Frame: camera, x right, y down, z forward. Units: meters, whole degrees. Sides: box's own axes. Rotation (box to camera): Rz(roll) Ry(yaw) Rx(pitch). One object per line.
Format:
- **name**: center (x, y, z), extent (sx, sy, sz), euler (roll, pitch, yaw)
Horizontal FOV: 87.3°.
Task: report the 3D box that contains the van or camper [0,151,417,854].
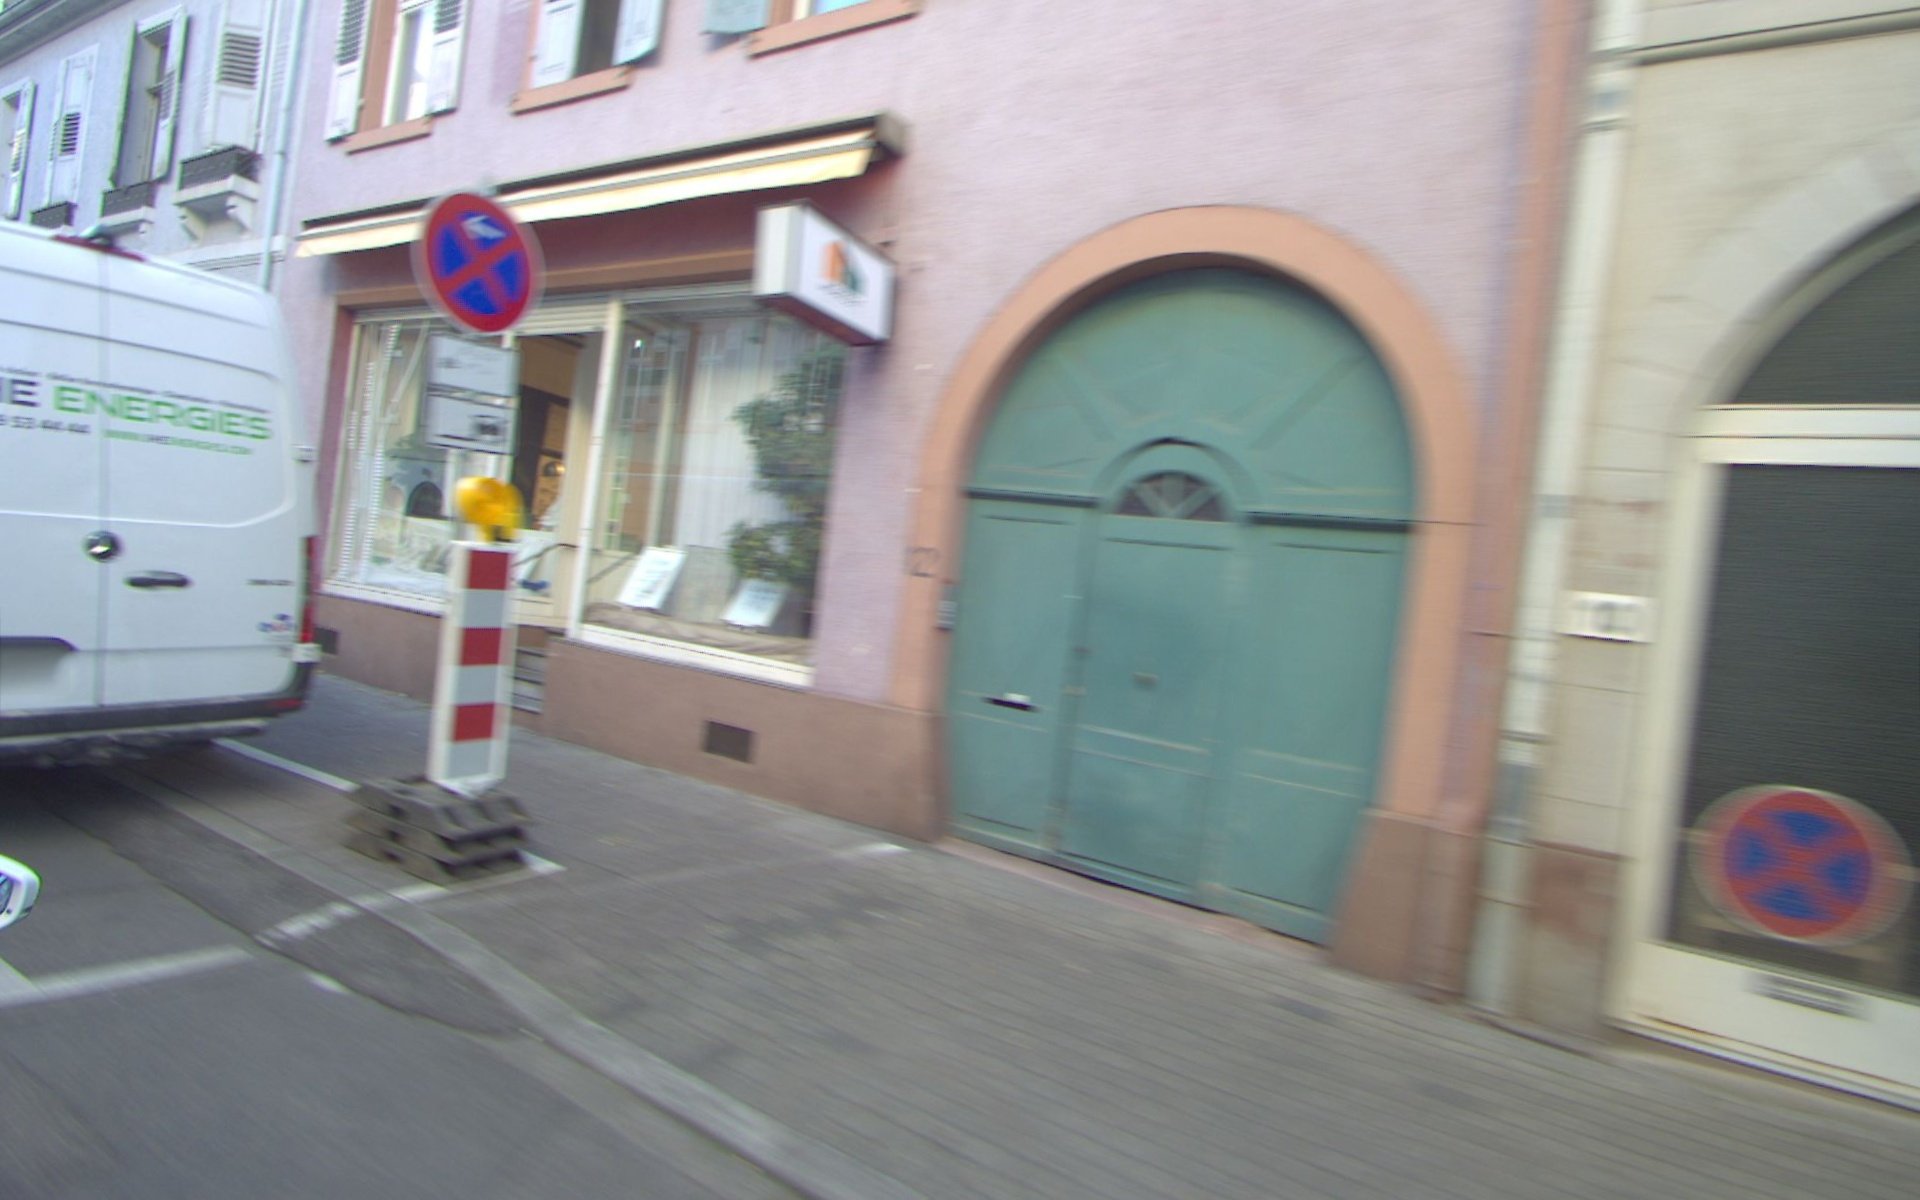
- **van or camper**: center (-6.342, -0.651, 6.098), extent (6.947, 2.669, 2.053), euler (7, 0, 33)
